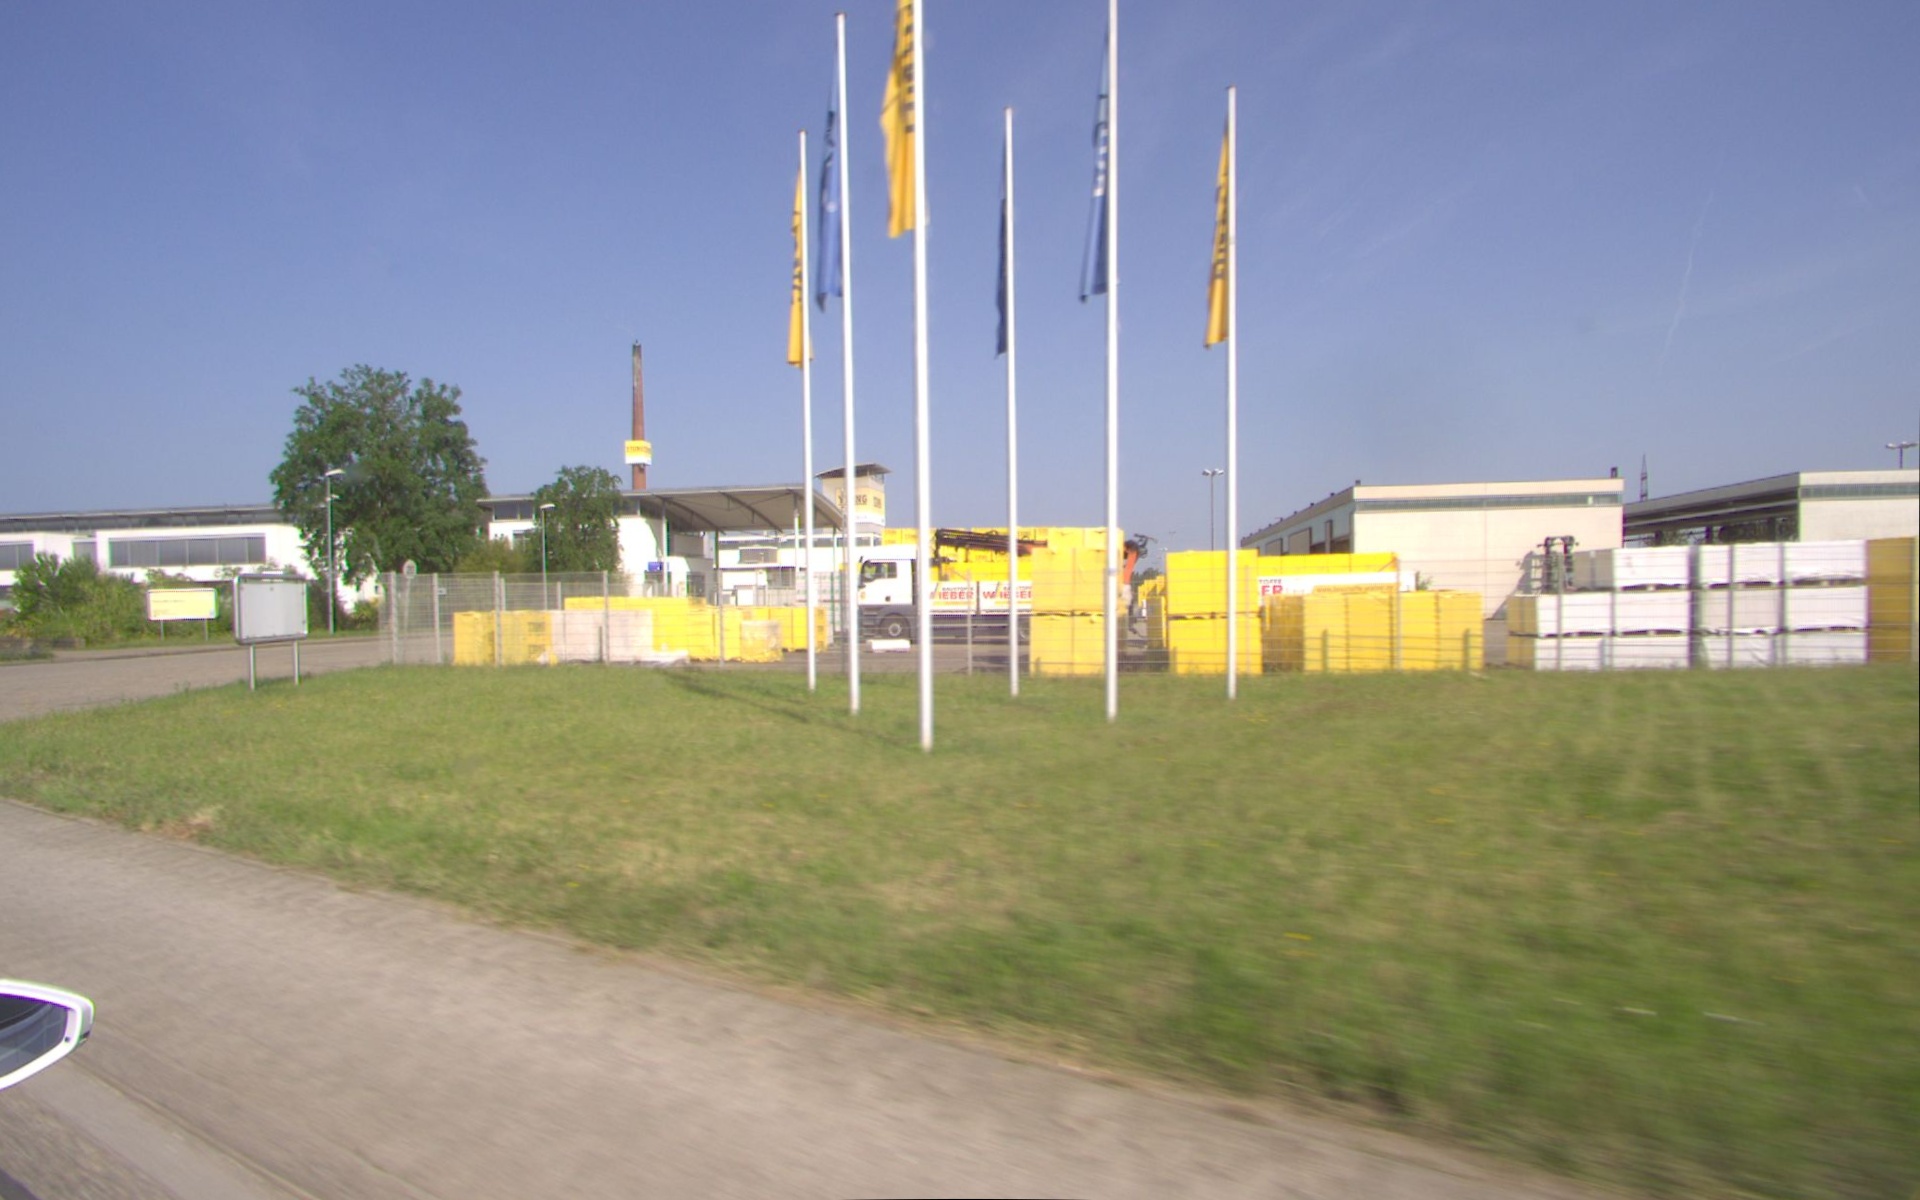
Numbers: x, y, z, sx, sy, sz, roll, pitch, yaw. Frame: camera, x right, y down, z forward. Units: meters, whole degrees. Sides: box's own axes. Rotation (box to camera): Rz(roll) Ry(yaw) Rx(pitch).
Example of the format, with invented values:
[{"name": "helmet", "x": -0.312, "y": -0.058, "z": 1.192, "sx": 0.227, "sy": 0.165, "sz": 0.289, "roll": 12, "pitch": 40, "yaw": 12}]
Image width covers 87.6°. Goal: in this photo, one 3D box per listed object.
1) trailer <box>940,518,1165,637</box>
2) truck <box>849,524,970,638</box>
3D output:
[{"name": "trailer", "x": 3.299, "y": -0.683, "z": 35.535, "sx": 7.652, "sy": 3.925, "sz": 2.485, "roll": -1, "pitch": -1, "yaw": 10}, {"name": "truck", "x": -1.774, "y": -0.592, "z": 36.441, "sx": 3.924, "sy": 3.925, "sz": 2.545, "roll": -1, "pitch": -1, "yaw": 10}]
